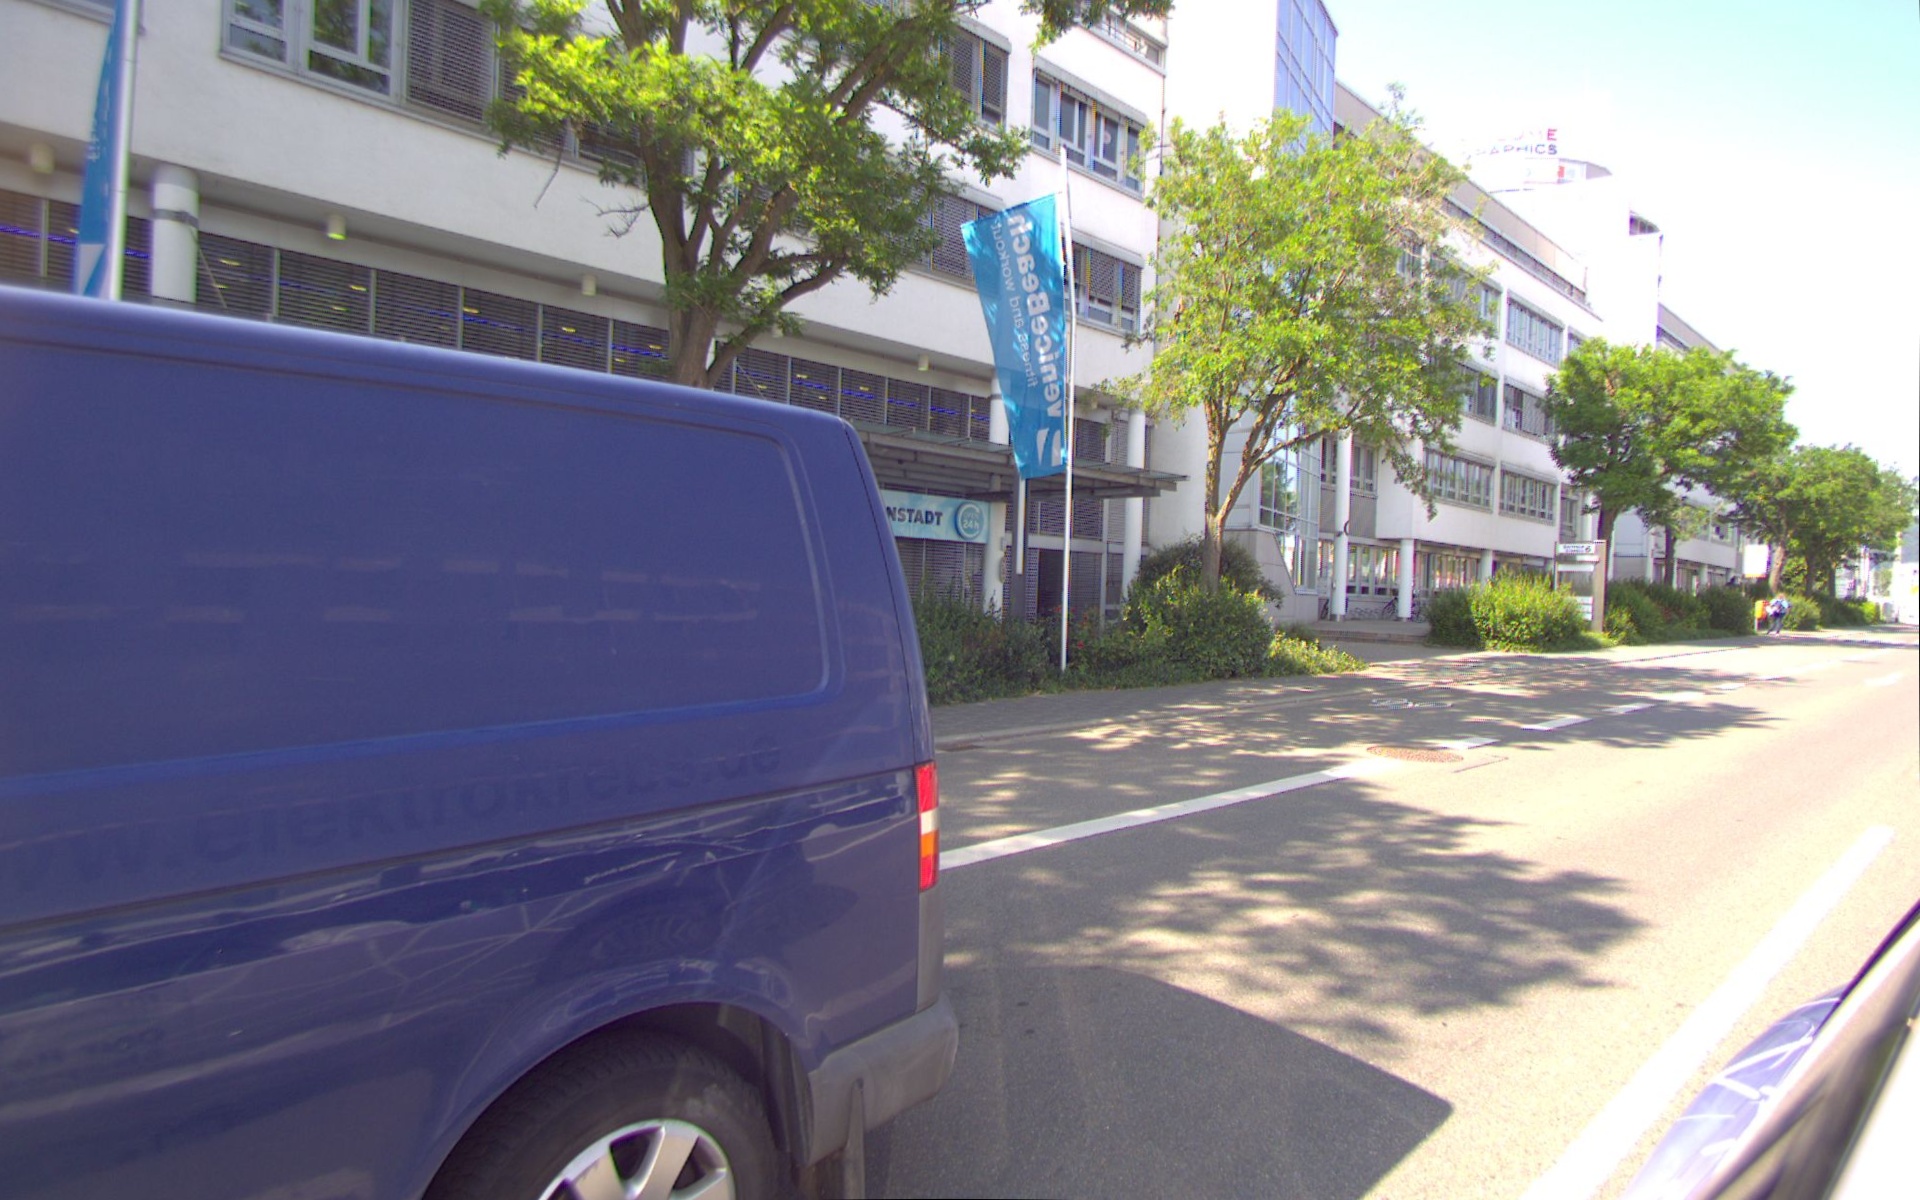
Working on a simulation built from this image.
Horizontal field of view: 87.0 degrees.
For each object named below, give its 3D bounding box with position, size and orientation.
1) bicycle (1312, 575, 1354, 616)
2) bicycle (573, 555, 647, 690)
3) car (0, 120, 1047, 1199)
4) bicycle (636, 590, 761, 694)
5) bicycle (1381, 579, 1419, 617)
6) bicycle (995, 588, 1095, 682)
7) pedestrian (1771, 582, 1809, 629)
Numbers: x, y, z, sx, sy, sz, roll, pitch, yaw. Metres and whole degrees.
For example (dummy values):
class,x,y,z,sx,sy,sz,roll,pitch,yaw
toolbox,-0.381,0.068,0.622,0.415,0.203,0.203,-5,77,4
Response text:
class,x,y,z,sx,sy,sz,roll,pitch,yaw
bicycle,12.833,-0.142,34.811,1.851,1.371,0.506,0,1,-41
bicycle,-3.773,0.208,10.991,0.496,1.346,1.693,1,1,-11
car,-2.265,0.409,1.508,4.806,1.972,1.997,-1,2,-41
bicycle,-3.711,0.558,14.303,1.868,1.346,0.501,2,1,30
bicycle,16.274,-0.066,37.433,1.851,1.371,0.506,0,1,-41
bicycle,1.322,0.506,15.411,0.504,1.346,1.856,2,1,41
pedestrian,35.140,0.221,42.832,1.267,1.909,0.942,0,3,-41
